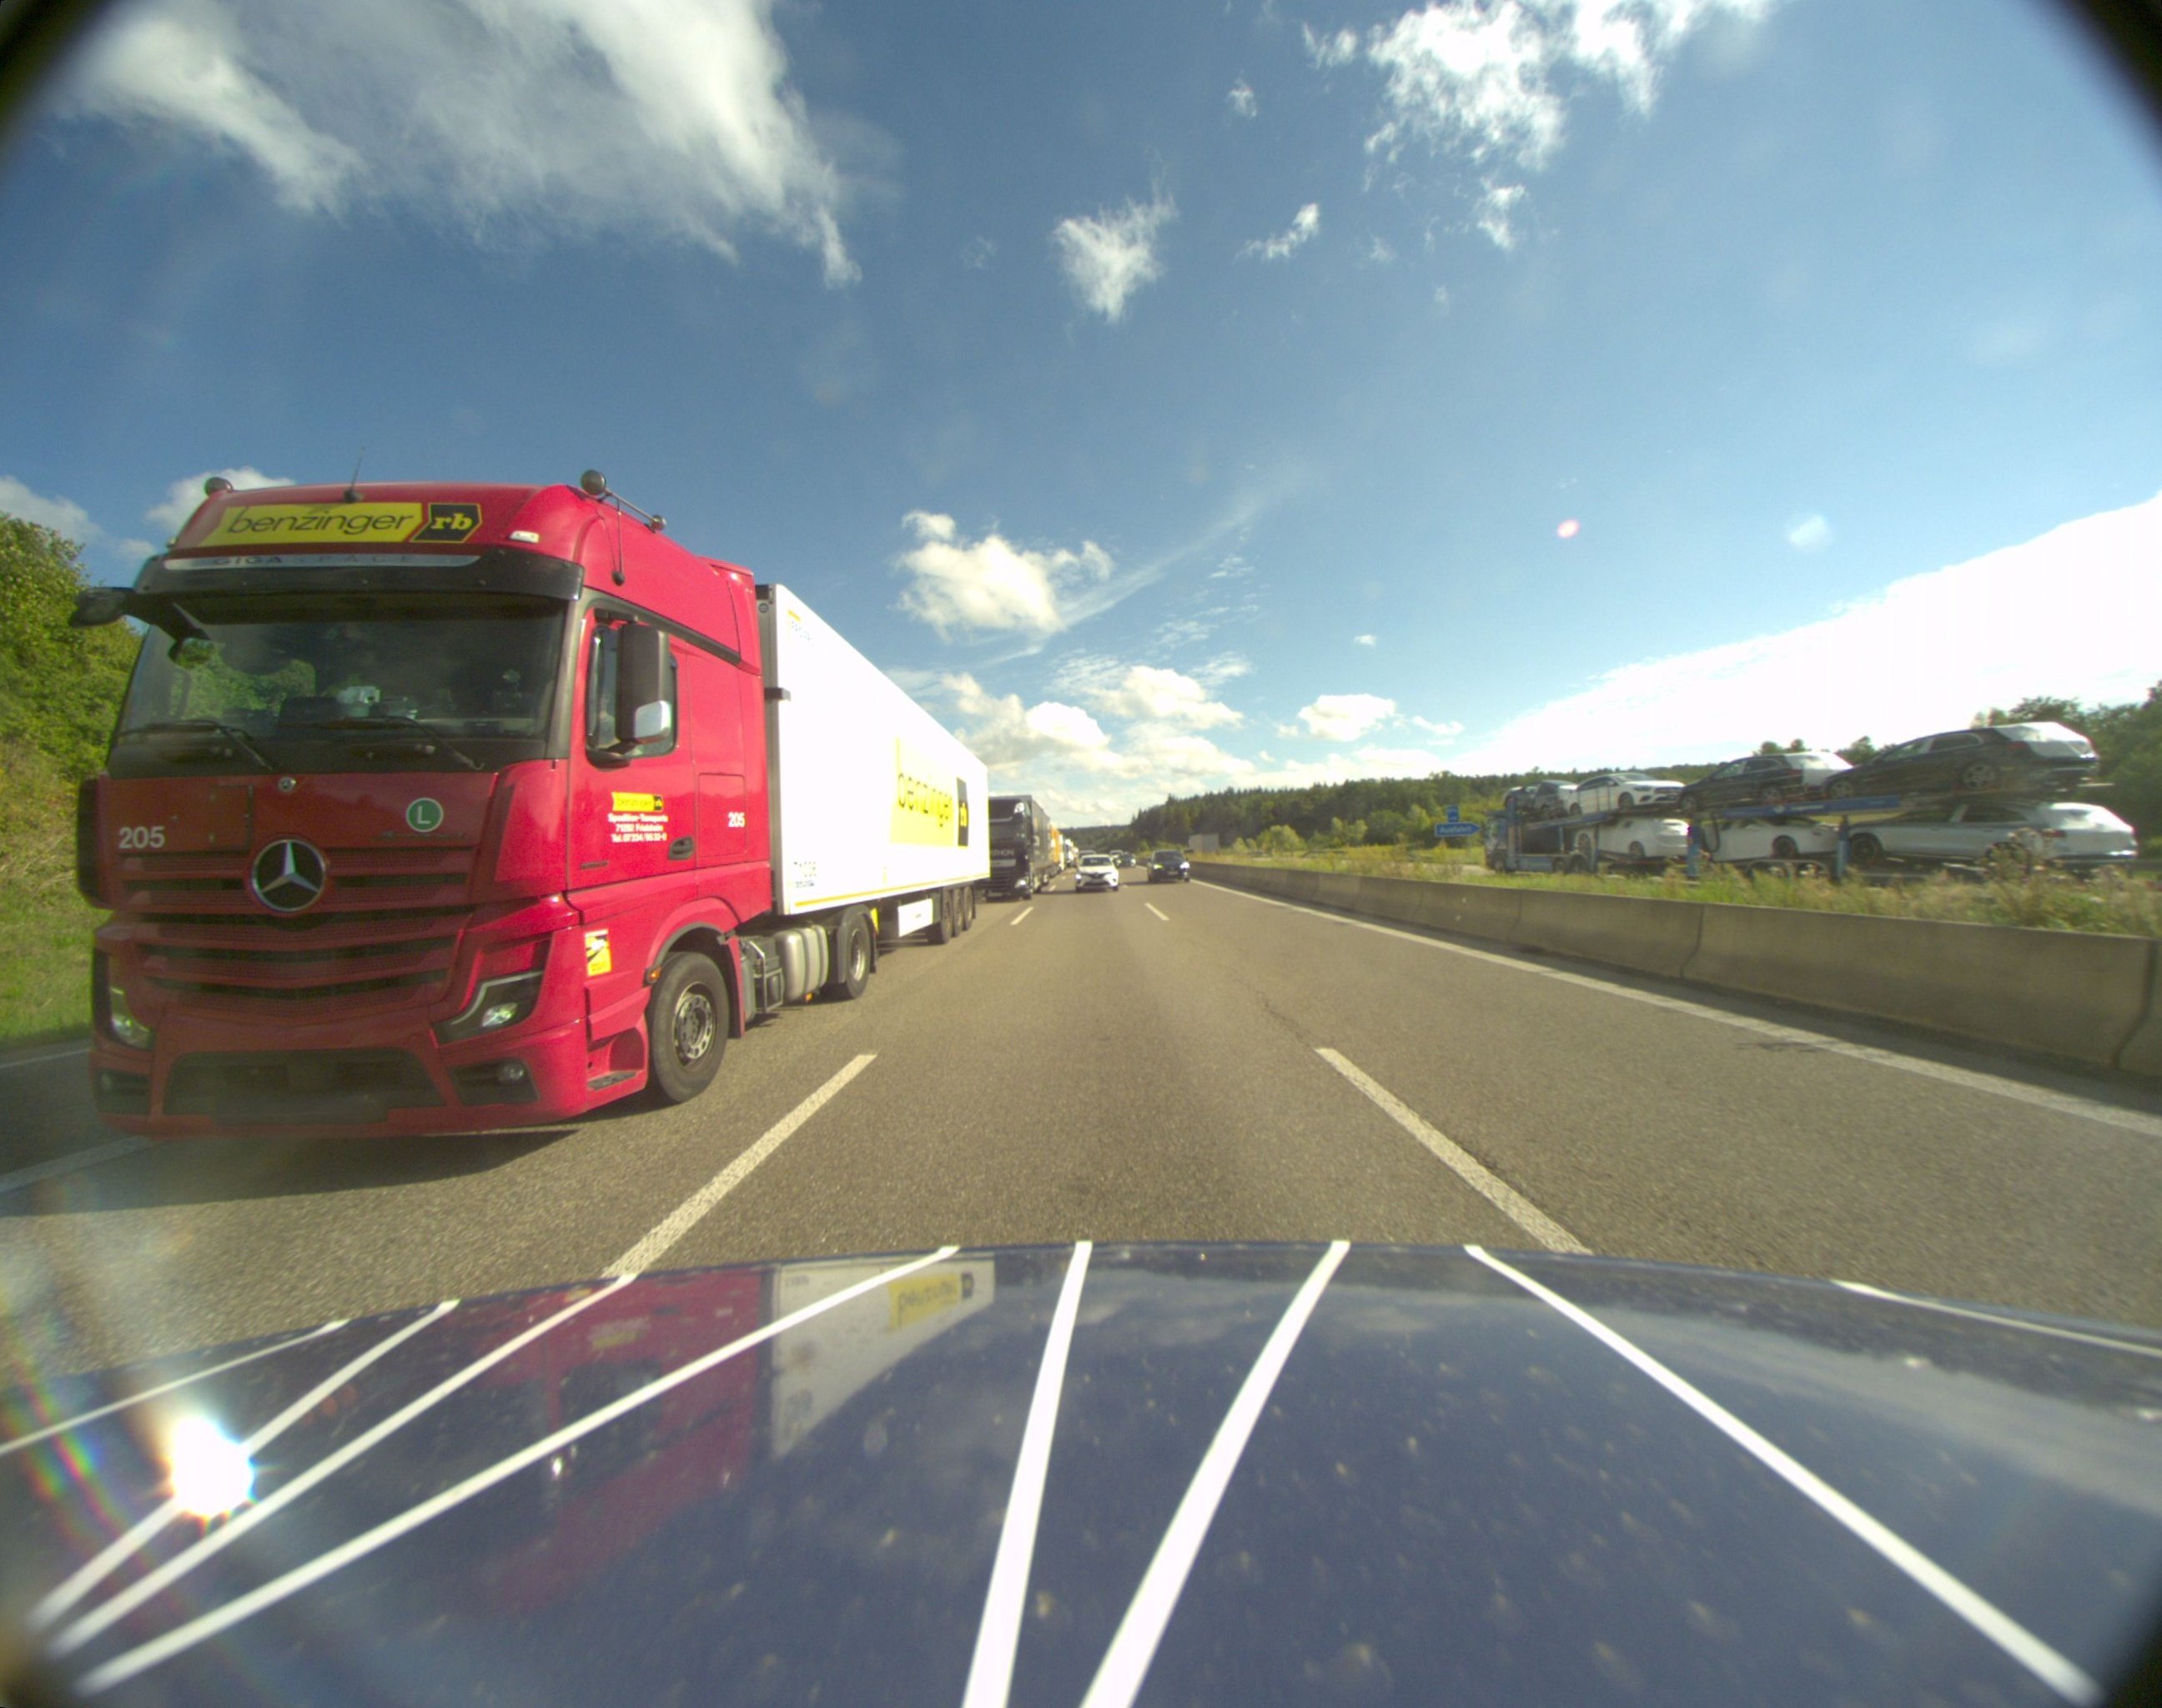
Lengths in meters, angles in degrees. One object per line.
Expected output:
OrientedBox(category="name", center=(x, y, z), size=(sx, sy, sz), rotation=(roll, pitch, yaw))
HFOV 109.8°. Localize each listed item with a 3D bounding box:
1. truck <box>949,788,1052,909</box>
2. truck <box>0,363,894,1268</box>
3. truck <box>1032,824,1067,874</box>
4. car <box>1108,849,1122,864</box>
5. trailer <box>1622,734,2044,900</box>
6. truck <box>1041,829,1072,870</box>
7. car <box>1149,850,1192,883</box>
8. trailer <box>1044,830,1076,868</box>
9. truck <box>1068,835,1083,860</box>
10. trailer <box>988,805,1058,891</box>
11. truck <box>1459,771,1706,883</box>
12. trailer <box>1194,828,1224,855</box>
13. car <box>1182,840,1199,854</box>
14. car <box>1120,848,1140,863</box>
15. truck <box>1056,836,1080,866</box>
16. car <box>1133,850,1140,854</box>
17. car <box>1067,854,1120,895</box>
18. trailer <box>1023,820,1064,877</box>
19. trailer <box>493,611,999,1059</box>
OrientedBox(category="truck", center=(-3.017, -0.236, 31.703), size=(2.747, 4.015, 10.201), rotation=(-5, 1, 1))
OrientedBox(category="truck", center=(-3.797, -0.171, 6.307), size=(2.809, 3.916, 5.825), rotation=(-3, 1, 0))
OrientedBox(category="truck", center=(-2.804, -0.453, 69.949), size=(2.418, 4.045, 9.664), rotation=(-5, 0, 1))
OrientedBox(category="car", center=(4.742, 0.339, 106.461), size=(1.779, 1.923, 4.214), rotation=(-1, 0, 1))
OrientedBox(category="trailer", center=(19.459, -0.835, 20.909), size=(2.806, 3.508, 8.953), rotation=(-2, 1, 1))
OrientedBox(category="truck", center=(-2.609, -0.469, 82.667), size=(2.654, 4.066, 6.491), rotation=(-5, 1, 2))
OrientedBox(category="car", center=(4.490, 0.593, 38.615), size=(1.779, 1.533, 4.158), rotation=(-1, 1, 1))
OrientedBox(category="trailer", center=(-2.361, -0.628, 90.757), size=(2.648, 4.074, 13.980), rotation=(-5, 1, 2))
OrientedBox(category="truck", center=(-0.898, -1.039, 131.595), size=(2.371, 3.996, 6.106), rotation=(-4, -1, 0))
OrientedBox(category="trailer", center=(-2.938, -0.270, 40.956), size=(2.723, 3.937, 8.711), rotation=(-5, 0, 0))
OrientedBox(category="truck", center=(19.603, -0.963, 31.076), size=(2.838, 3.667, 11.131), rotation=(-2, 1, 1))
OrientedBox(category="trailer", center=(20.858, -2.026, 124.810), size=(2.839, 3.969, 13.549), rotation=(-3, 1, 2))
OrientedBox(category="car", center=(16.587, -1.065, 115.530), size=(1.883, 1.865, 4.489), rotation=(-5, 1, 1))
OrientedBox(category="car", center=(5.052, 0.140, 78.844), size=(1.779, 1.451, 4.158), rotation=(-1, 1, 1))
OrientedBox(category="truck", center=(-1.734, -0.364, 106.308), size=(2.655, 3.902, 6.943), rotation=(-5, 0, 2))
OrientedBox(category="car", center=(19.010, -0.693, 261.393), size=(1.923, 1.468, 4.933), rotation=(-5, 1, 0))
OrientedBox(category="car", center=(0.610, 0.821, 32.529), size=(2.026, 1.511, 5.299), rotation=(-2, 0, 2))
OrientedBox(category="trailer", center=(-2.877, -0.427, 60.721), size=(2.418, 4.045, 8.926), rotation=(-5, 0, 1))
OrientedBox(category="trailer", center=(-3.725, -0.220, 13.399), size=(2.799, 3.916, 13.068), rotation=(-3, 1, 1))
